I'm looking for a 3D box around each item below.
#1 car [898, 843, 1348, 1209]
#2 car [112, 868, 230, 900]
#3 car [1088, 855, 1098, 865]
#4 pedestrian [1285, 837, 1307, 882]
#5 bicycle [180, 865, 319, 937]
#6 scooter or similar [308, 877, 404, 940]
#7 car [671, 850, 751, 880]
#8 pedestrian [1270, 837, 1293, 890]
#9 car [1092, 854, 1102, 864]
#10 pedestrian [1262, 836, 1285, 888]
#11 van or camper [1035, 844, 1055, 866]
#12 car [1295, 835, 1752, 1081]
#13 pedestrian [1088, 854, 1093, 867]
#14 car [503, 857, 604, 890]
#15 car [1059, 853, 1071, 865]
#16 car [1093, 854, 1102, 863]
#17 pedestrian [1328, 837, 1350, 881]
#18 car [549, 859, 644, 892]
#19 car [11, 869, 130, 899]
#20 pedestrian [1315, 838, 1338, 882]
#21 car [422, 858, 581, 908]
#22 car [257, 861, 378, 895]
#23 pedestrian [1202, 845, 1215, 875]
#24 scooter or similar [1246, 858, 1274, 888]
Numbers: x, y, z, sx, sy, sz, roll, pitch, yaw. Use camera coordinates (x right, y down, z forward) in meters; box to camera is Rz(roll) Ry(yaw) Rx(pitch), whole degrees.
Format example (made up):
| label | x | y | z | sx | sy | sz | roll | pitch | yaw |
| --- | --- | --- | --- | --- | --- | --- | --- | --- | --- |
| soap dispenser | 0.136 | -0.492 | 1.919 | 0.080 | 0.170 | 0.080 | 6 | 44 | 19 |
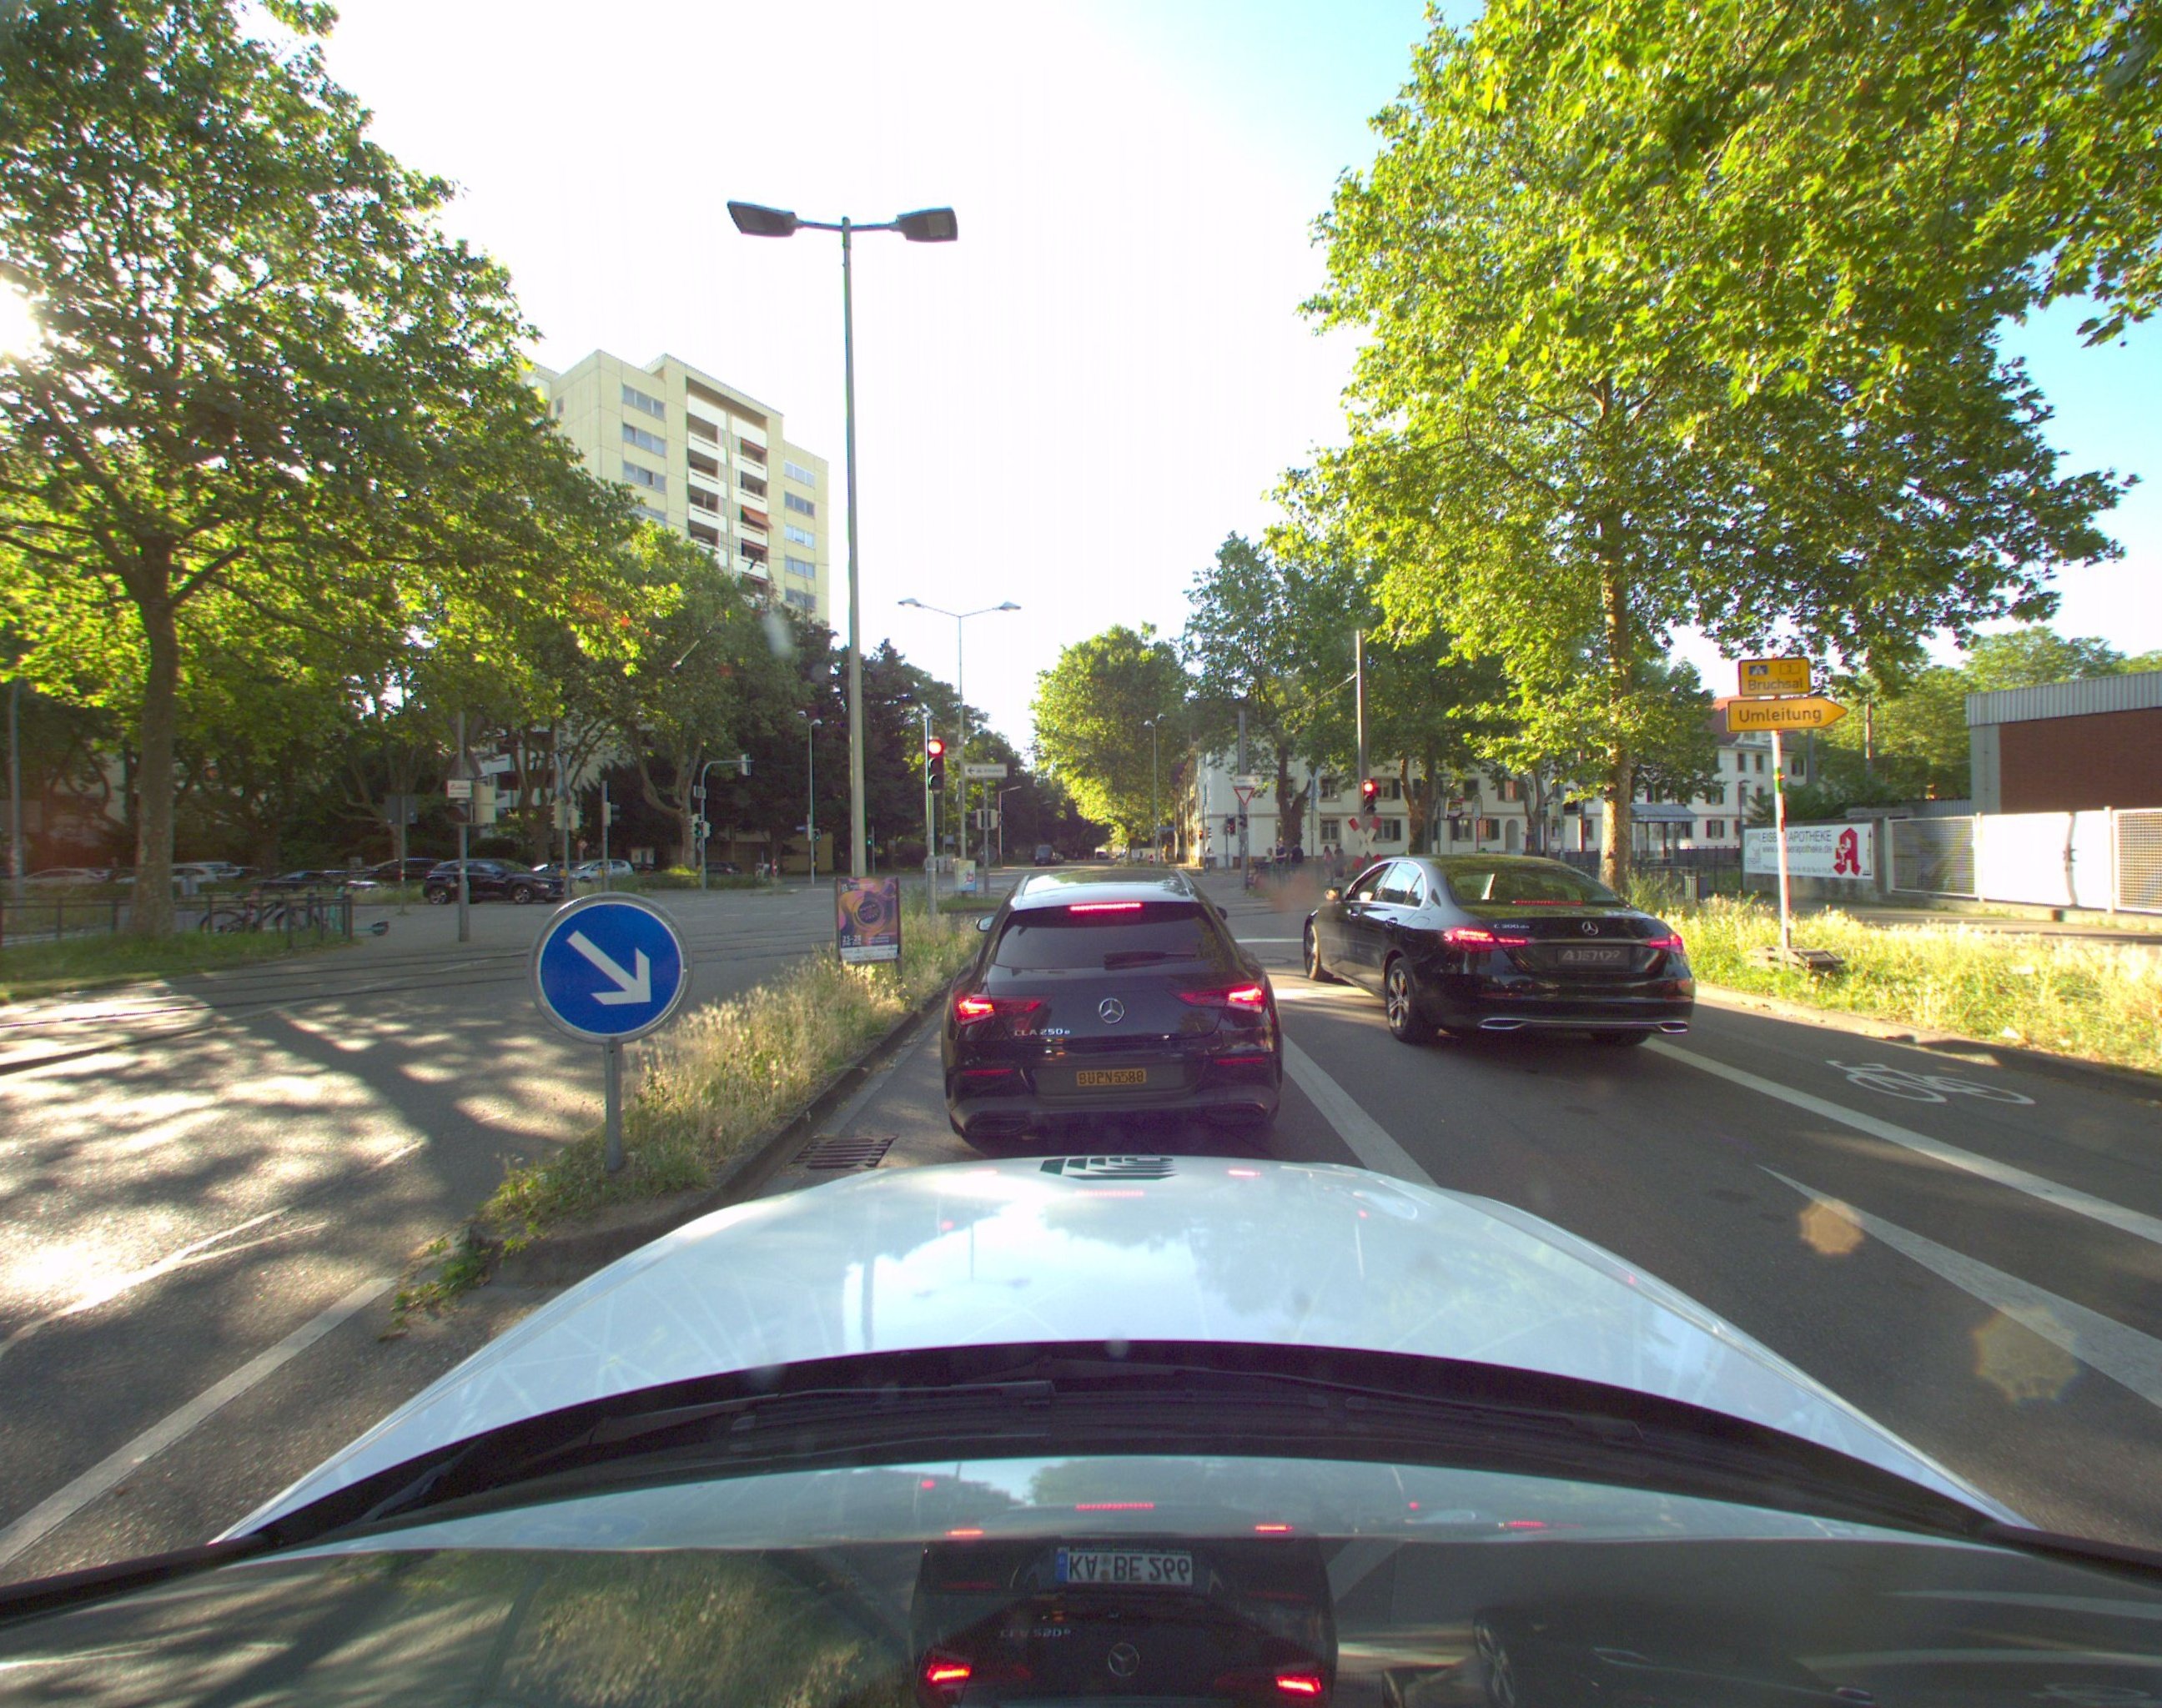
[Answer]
| label | x | y | z | sx | sy | sz | roll | pitch | yaw |
| --- | --- | --- | --- | --- | --- | --- | --- | --- | --- |
| car | 0.284 | 0.696 | 5.420 | 1.881 | 1.450 | 4.004 | 0 | 2 | 3 |
| car | -49.161 | 1.587 | 44.075 | 1.716 | 1.596 | 4.025 | -1 | -1 | 32 |
| car | 2.104 | 0.996 | 145.740 | 1.727 | 1.765 | 4.020 | 0 | -1 | 2 |
| pedestrian | 9.299 | 0.253 | 35.240 | 0.703 | 1.918 | 0.838 | 0 | -1 | -2 |
| bicycle | -15.954 | 0.881 | 15.674 | 1.845 | 1.307 | 0.380 | 0 | -1 | -26 |
| scooter or similar | -15.094 | 1.108 | 16.986 | 0.408 | 1.239 | 1.450 | -1 | -1 | 40 |
| car | -22.642 | 0.691 | 49.930 | 3.963 | 1.774 | 2.005 | -1 | -1 | 9 |
| pedestrian | 7.411 | 0.342 | 30.086 | 0.680 | 1.918 | 0.707 | 0 | -1 | 0 |
| car | 2.915 | 0.968 | 150.545 | 1.727 | 1.765 | 4.020 | 0 | -1 | 2 |
| pedestrian | 7.287 | 0.297 | 30.862 | 0.681 | 1.918 | 0.707 | 0 | -1 | -2 |
| van or camper | -4.419 | 0.122 | 100.054 | 1.986 | 2.541 | 4.653 | 0 | -1 | 2 |
| car | 3.346 | 0.608 | 7.310 | 1.882 | 1.490 | 4.385 | 0 | 2 | 3 |
| pedestrian | 1.538 | 1.042 | 130.204 | 0.704 | 1.918 | 0.837 | 0 | -1 | -8 |
| car | -27.221 | 0.974 | 42.165 | 1.716 | 1.596 | 4.025 | -1 | -1 | 32 |
| car | -2.471 | 0.818 | 126.680 | 1.727 | 1.765 | 3.972 | 0 | -1 | 2 |
| car | 3.246 | 0.888 | 158.627 | 1.727 | 1.765 | 4.020 | 0 | -1 | 2 |
| pedestrian | 11.572 | 0.229 | 36.543 | 0.703 | 1.918 | 0.838 | 0 | -1 | -2 |
| car | -24.924 | 1.090 | 42.031 | 1.716 | 1.596 | 3.831 | -1 | -1 | 32 |
| car | -57.102 | 1.664 | 46.079 | 1.716 | 1.596 | 4.025 | -1 | -1 | 32 |
| pedestrian | 10.721 | 0.257 | 35.562 | 0.703 | 1.918 | 0.838 | 0 | -1 | -2 |
| car | -19.366 | 0.954 | 27.369 | 3.981 | 1.596 | 1.735 | 0 | -1 | -5 |
| car | -37.415 | 1.145 | 40.003 | 1.716 | 1.596 | 4.025 | -1 | -1 | 32 |
| pedestrian | 8.447 | 0.397 | 54.081 | 0.703 | 1.918 | 0.838 | 0 | -1 | -2 |
| scooter or similar | 6.606 | 0.699 | 30.069 | 0.826 | 1.104 | 0.808 | 0 | -1 | -4 |
